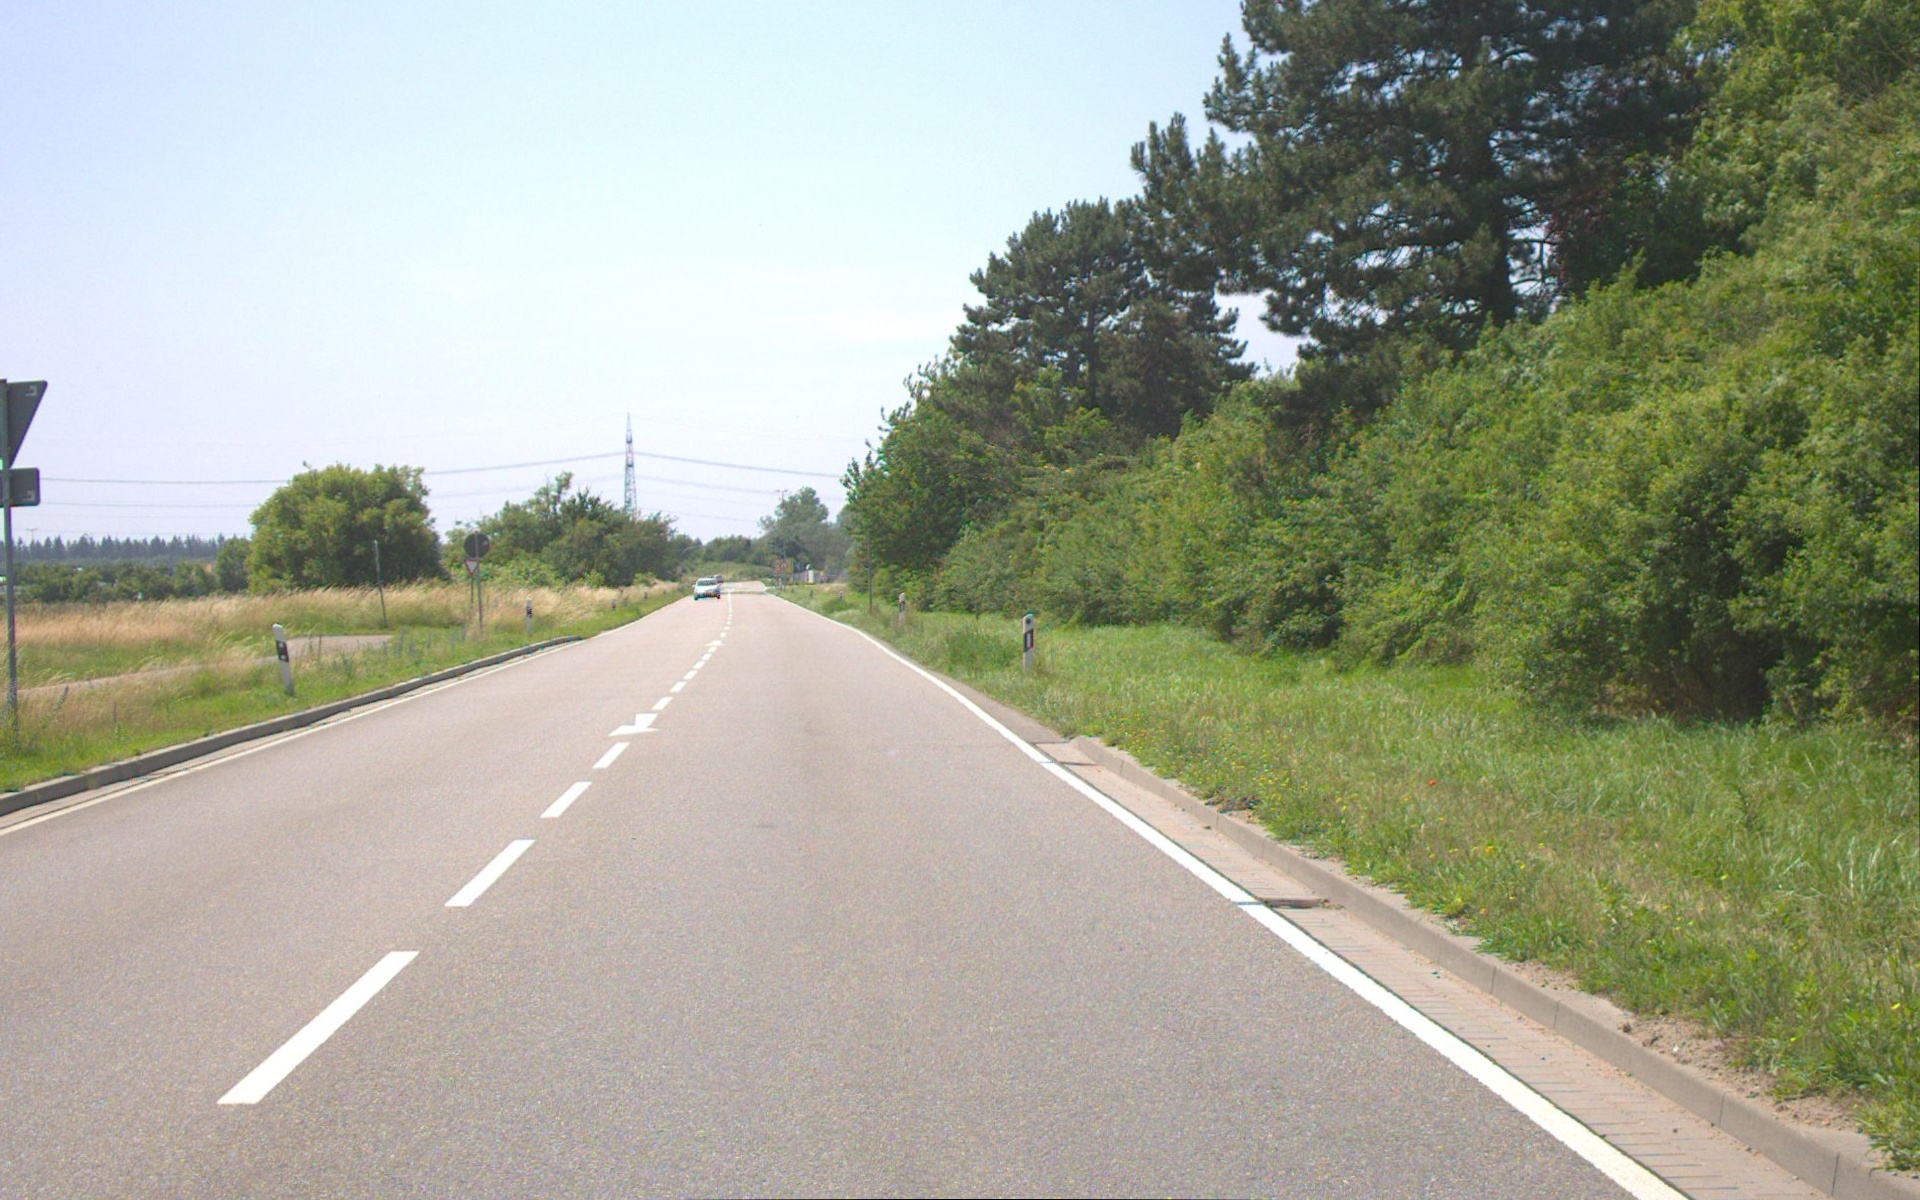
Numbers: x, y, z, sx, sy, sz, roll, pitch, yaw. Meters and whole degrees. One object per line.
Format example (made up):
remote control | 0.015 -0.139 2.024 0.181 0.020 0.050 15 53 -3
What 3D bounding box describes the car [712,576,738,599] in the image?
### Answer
car | -16.320 -0.868 238.826 1.678 1.416 4.423 -4 1 -4
